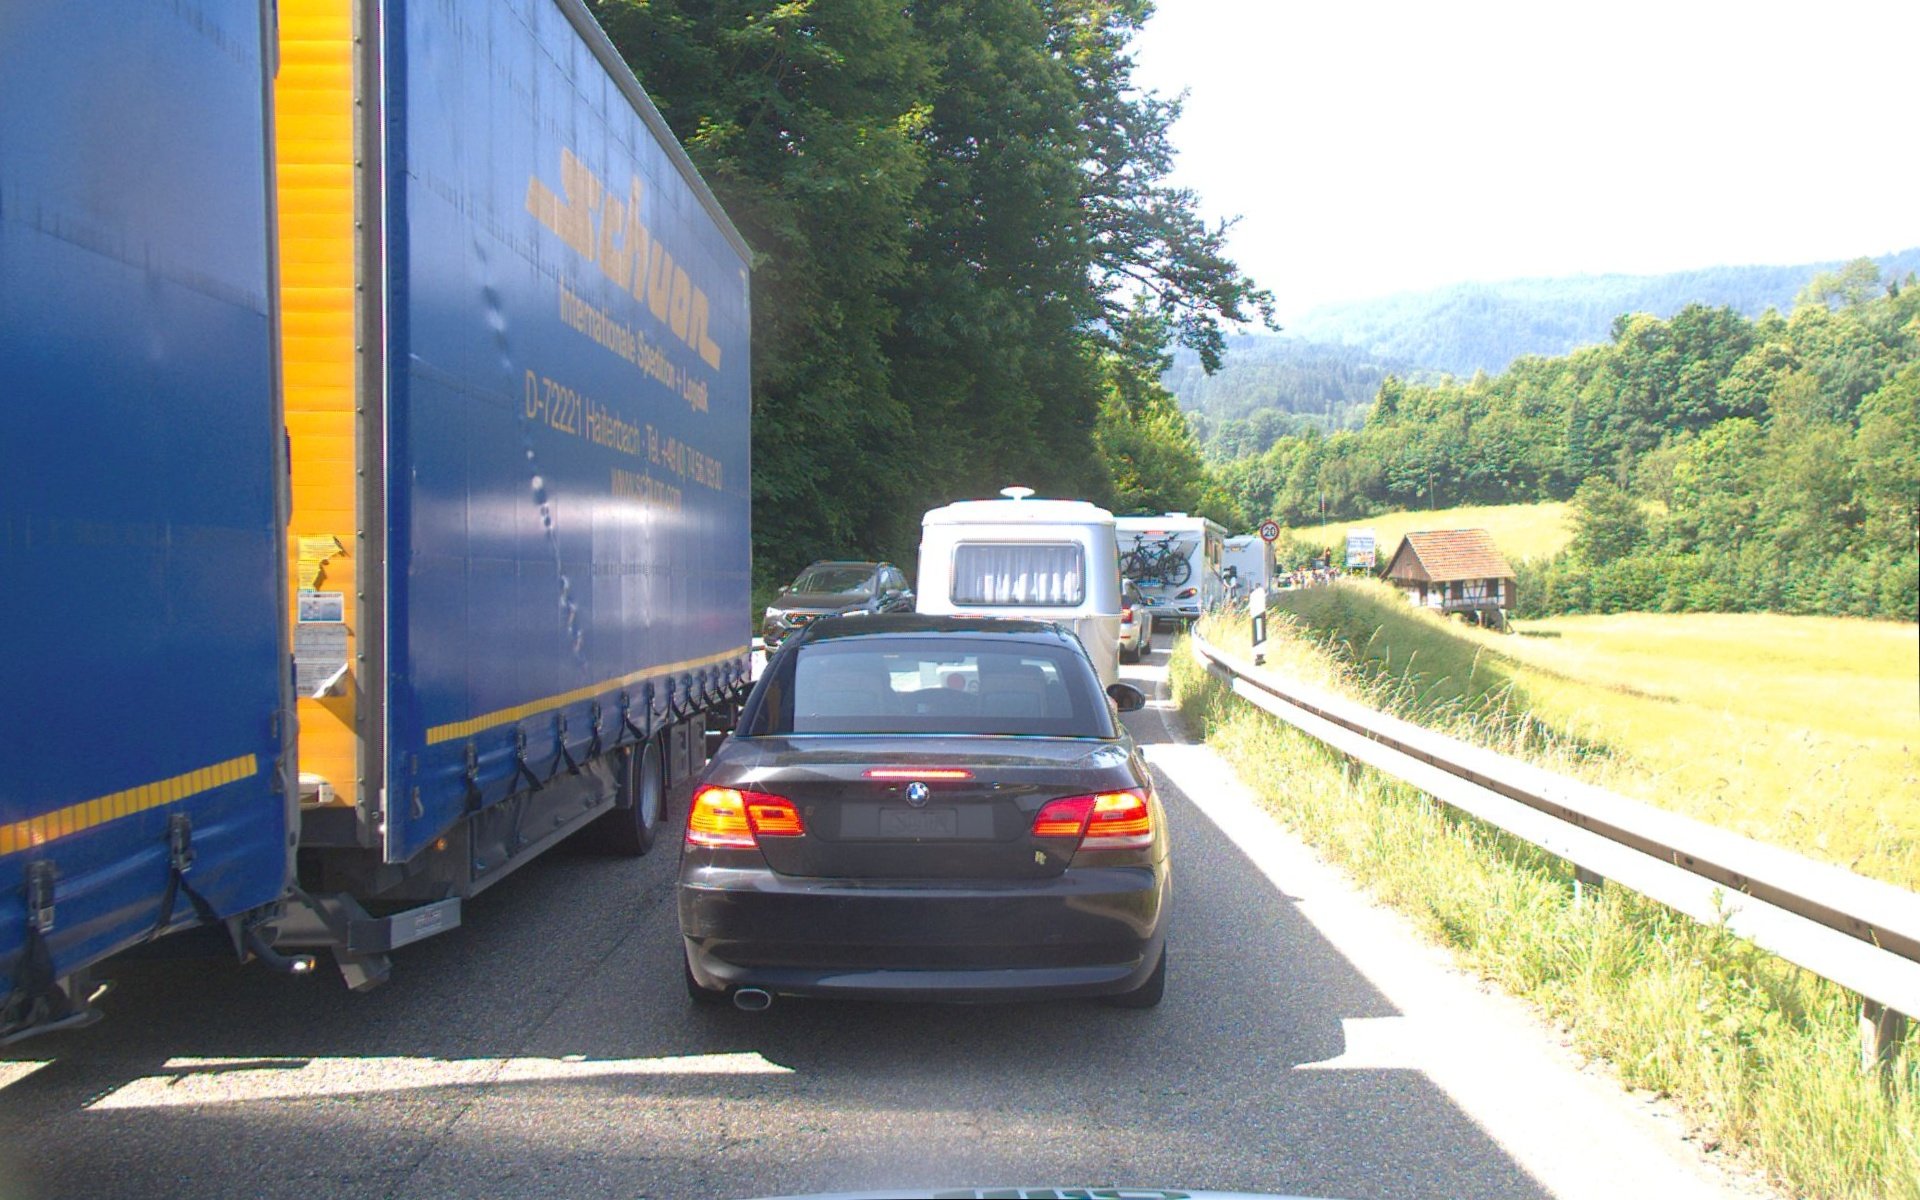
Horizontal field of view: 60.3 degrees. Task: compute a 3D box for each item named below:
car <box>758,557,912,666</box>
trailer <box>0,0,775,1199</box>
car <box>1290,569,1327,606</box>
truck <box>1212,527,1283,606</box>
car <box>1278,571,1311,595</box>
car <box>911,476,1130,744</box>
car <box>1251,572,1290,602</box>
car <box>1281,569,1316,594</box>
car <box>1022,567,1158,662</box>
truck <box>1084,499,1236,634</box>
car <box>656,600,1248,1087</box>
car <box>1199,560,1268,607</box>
[{"bbox_3d":[-1.944,0.135,26.905,1.783,1.612,4.086,1,1,6],"label":"car"},{"bbox_3d":[-2.988,-0.788,5.817,3.193,4.494,15.314,1,1,-1],"label":"trailer"},{"bbox_3d":[20.074,-0.675,95.292,1.951,1.959,4.003,4,0,12],"label":"car"},{"bbox_3d":[11.087,-1.223,63.436,2.190,2.853,6.237,1,0,14],"label":"truck"},{"bbox_3d":[24.780,-1.252,122.476,1.952,1.713,4.002,1,0,18],"label":"car"},{"bbox_3d":[0.722,0.032,17.316,1.951,2.394,4.917,0,1,4],"label":"car"},{"bbox_3d":[16.135,-0.663,85.848,1.866,1.512,4.003,1,0,12],"label":"car"},{"bbox_3d":[23.145,-1.239,113.037,1.951,1.603,4.002,1,0,17],"label":"car"},{"bbox_3d":[2.384,0.212,29.449,1.951,1.510,4.004,2,1,11],"label":"car"},{"bbox_3d":[5.202,-0.864,41.850,2.732,3.049,6.873,3,2,15],"label":"truck"},{"bbox_3d":[0.027,0.717,6.757,1.734,1.359,3.768,0,1,2],"label":"car"},{"bbox_3d":[9.481,-0.585,57.088,1.750,1.489,4.002,3,2,18],"label":"car"}]
